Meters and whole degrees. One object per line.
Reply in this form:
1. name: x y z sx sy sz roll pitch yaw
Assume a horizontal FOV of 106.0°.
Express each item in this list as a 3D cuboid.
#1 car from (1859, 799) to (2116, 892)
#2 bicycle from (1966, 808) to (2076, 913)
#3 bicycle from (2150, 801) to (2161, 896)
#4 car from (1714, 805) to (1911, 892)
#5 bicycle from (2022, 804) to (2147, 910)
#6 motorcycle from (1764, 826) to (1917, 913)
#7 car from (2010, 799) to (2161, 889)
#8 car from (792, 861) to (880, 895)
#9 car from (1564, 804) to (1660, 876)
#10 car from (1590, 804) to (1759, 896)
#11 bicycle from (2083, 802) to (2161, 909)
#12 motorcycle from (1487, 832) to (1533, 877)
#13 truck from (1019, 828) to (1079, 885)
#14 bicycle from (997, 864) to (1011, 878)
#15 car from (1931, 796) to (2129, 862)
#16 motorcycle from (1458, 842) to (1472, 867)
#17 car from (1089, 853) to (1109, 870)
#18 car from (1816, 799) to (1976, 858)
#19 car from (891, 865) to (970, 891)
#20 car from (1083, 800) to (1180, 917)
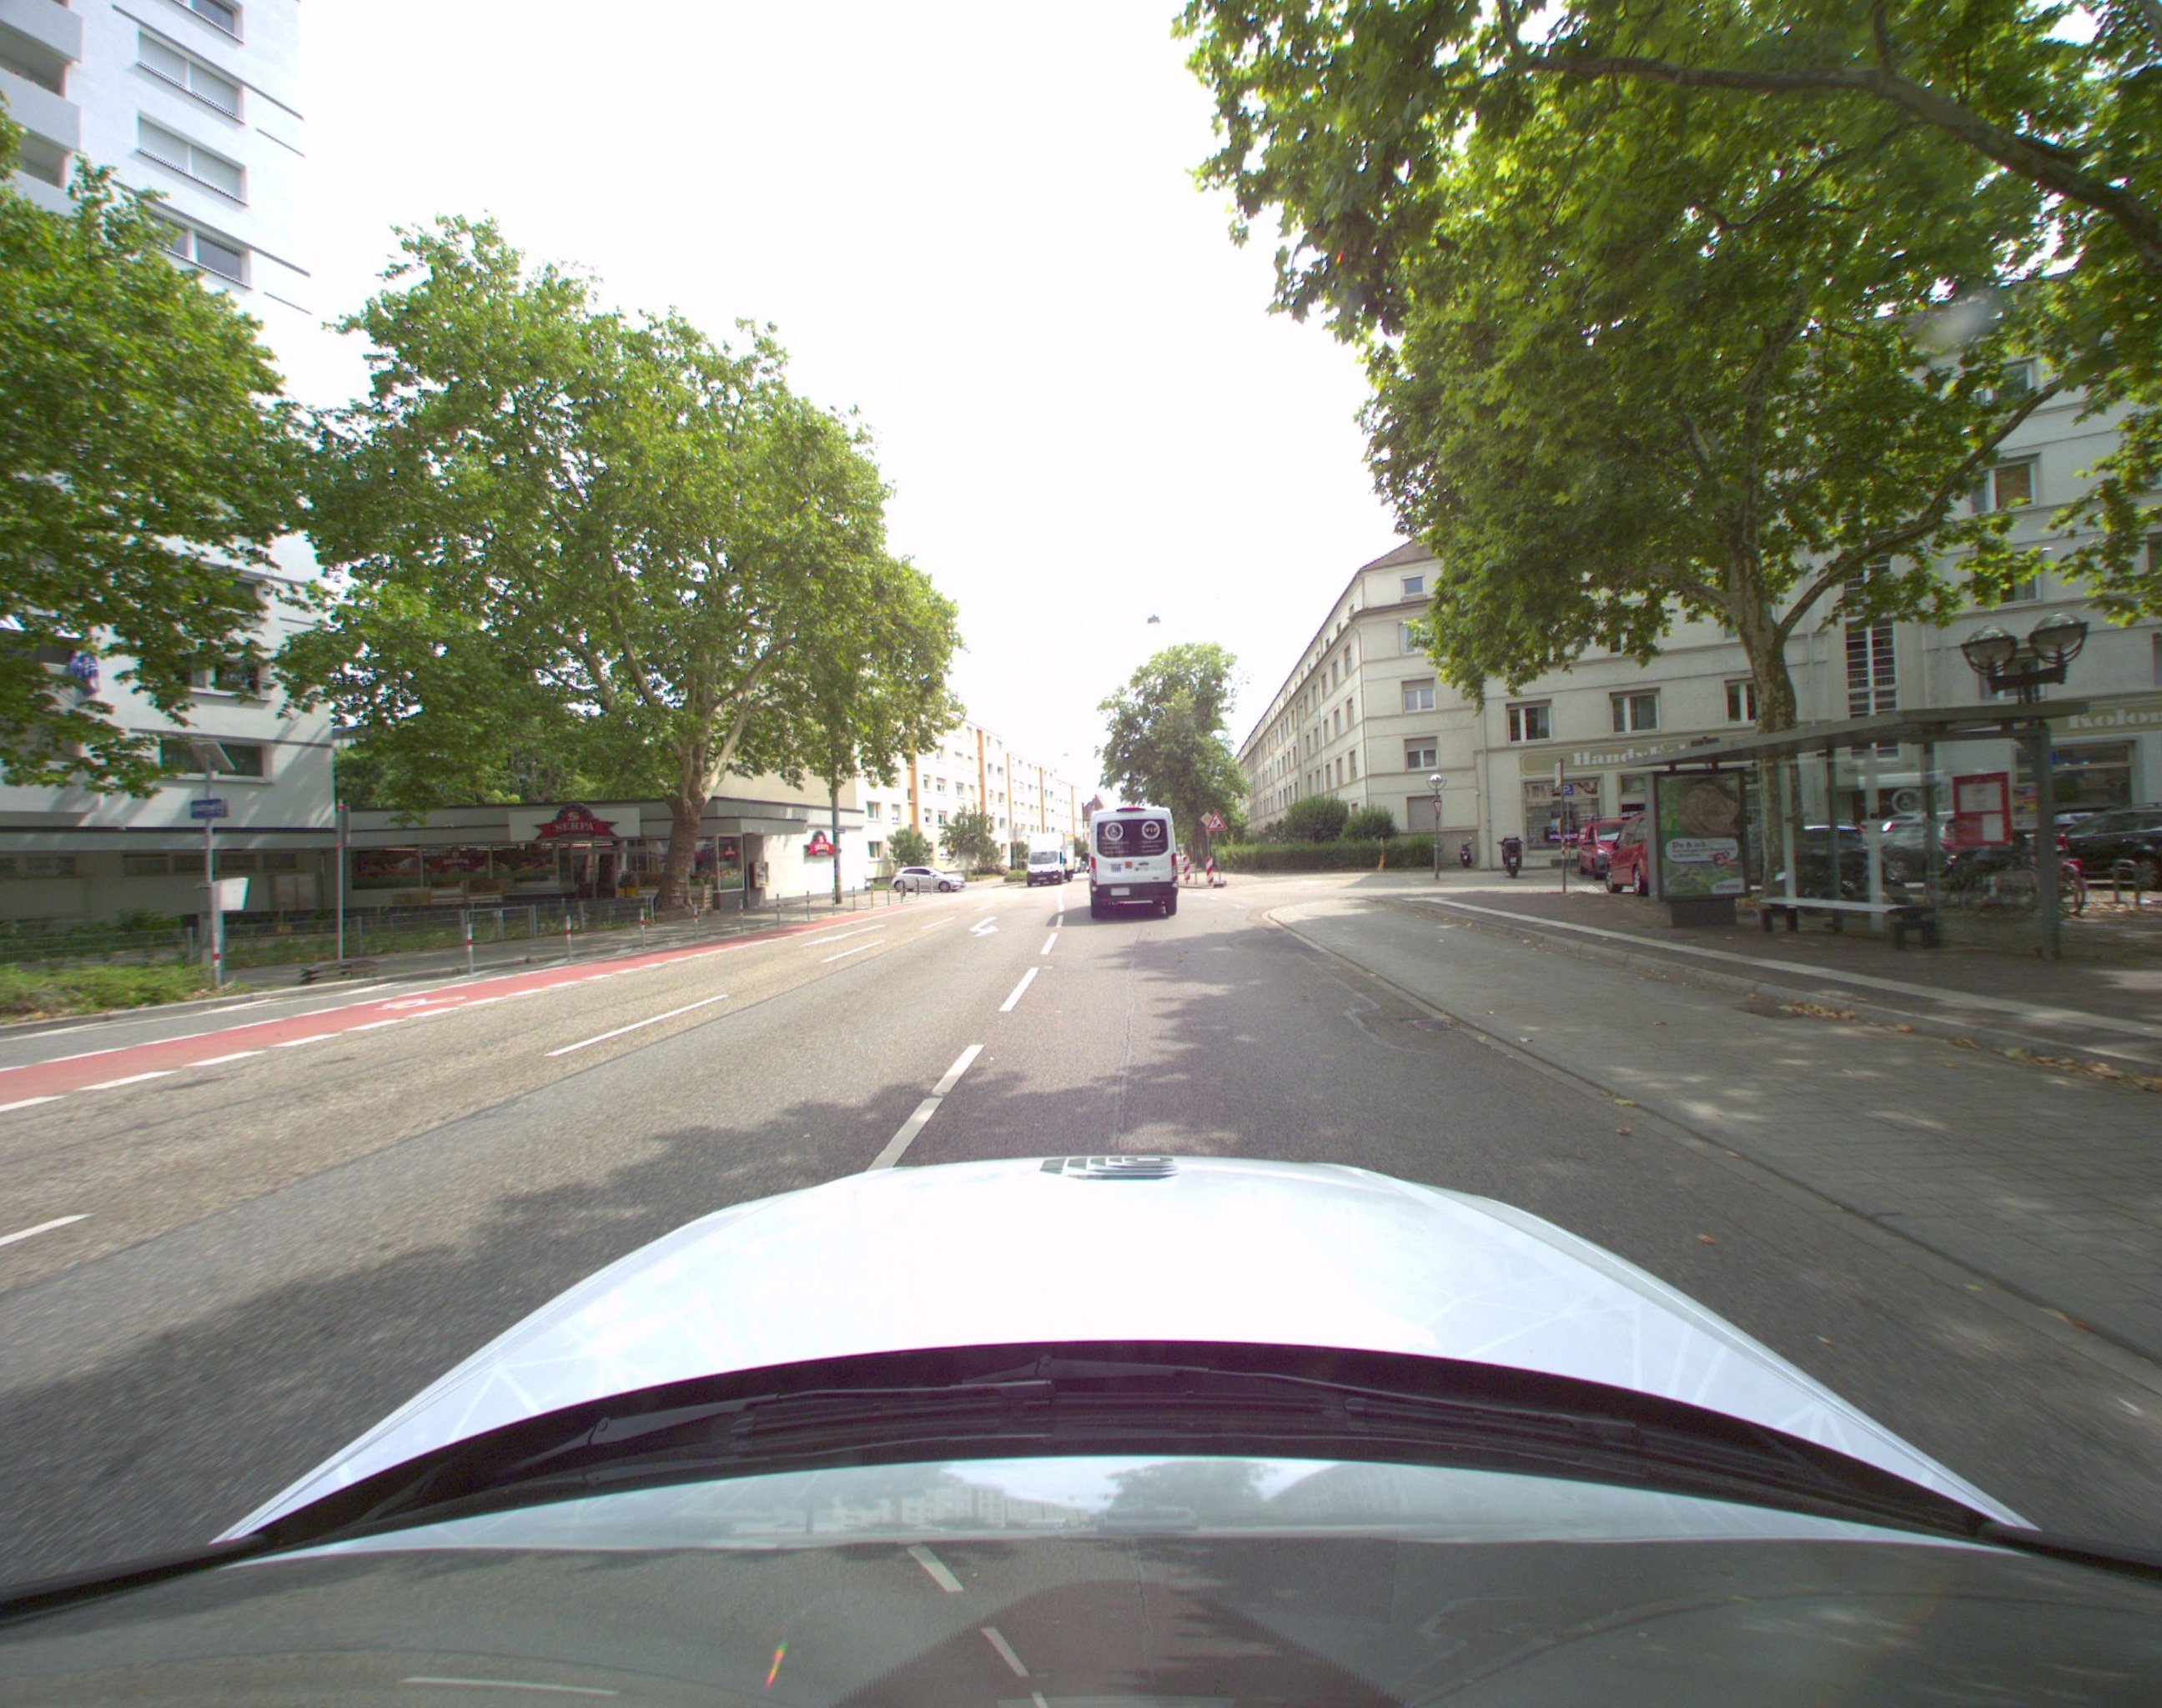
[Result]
1. car: 16.735 -0.152 15.353 1.729 1.464 4.209 -3 0 26
2. bicycle: 13.593 0.040 11.840 0.415 1.378 2.326 -3 1 34
3. bicycle: 15.327 -0.046 10.928 0.415 1.378 2.326 -3 0 34
4. car: 15.233 -0.119 17.258 1.811 1.552 4.022 -3 0 23
5. bicycle: 14.168 0.006 11.566 0.415 1.378 2.326 -3 0 34
6. motorcycle: 11.680 0.226 12.549 1.848 1.222 0.531 -3 0 -1
7. car: 18.962 -0.229 14.235 1.976 1.464 4.022 -3 0 22
8. car: -14.526 1.443 48.352 4.599 1.686 1.856 -4 0 12
9. car: 17.693 -0.460 27.374 1.975 2.149 4.872 -3 0 25
10. car: 12.751 -0.081 17.837 1.915 1.706 4.354 -3 0 22
11. bicycle: 14.714 -0.016 11.241 0.415 1.378 2.326 -3 1 34
12. motorcycle: 14.927 -0.025 28.398 0.826 1.461 2.315 -3 1 14
13. truck: -1.858 0.166 50.484 2.529 3.107 7.031 -4 0 5
14. bicycle: -7.400 1.636 78.695 0.574 1.251 1.942 -2 1 17
15. car: 26.091 -0.658 22.626 1.975 1.591 4.219 -3 0 25
16. motorcycle: 16.840 -0.001 35.716 0.428 1.016 1.457 -3 1 23
17. car: 1.846 0.759 83.861 1.689 1.518 4.006 -4 0 6
18. car: 23.860 -0.713 24.067 1.975 1.487 4.219 -3 0 25
19. car: -8.731 1.368 47.448 4.148 1.450 1.853 0 0 8
20. car: 1.306 0.106 20.189 2.060 2.540 4.641 -1 0 5
